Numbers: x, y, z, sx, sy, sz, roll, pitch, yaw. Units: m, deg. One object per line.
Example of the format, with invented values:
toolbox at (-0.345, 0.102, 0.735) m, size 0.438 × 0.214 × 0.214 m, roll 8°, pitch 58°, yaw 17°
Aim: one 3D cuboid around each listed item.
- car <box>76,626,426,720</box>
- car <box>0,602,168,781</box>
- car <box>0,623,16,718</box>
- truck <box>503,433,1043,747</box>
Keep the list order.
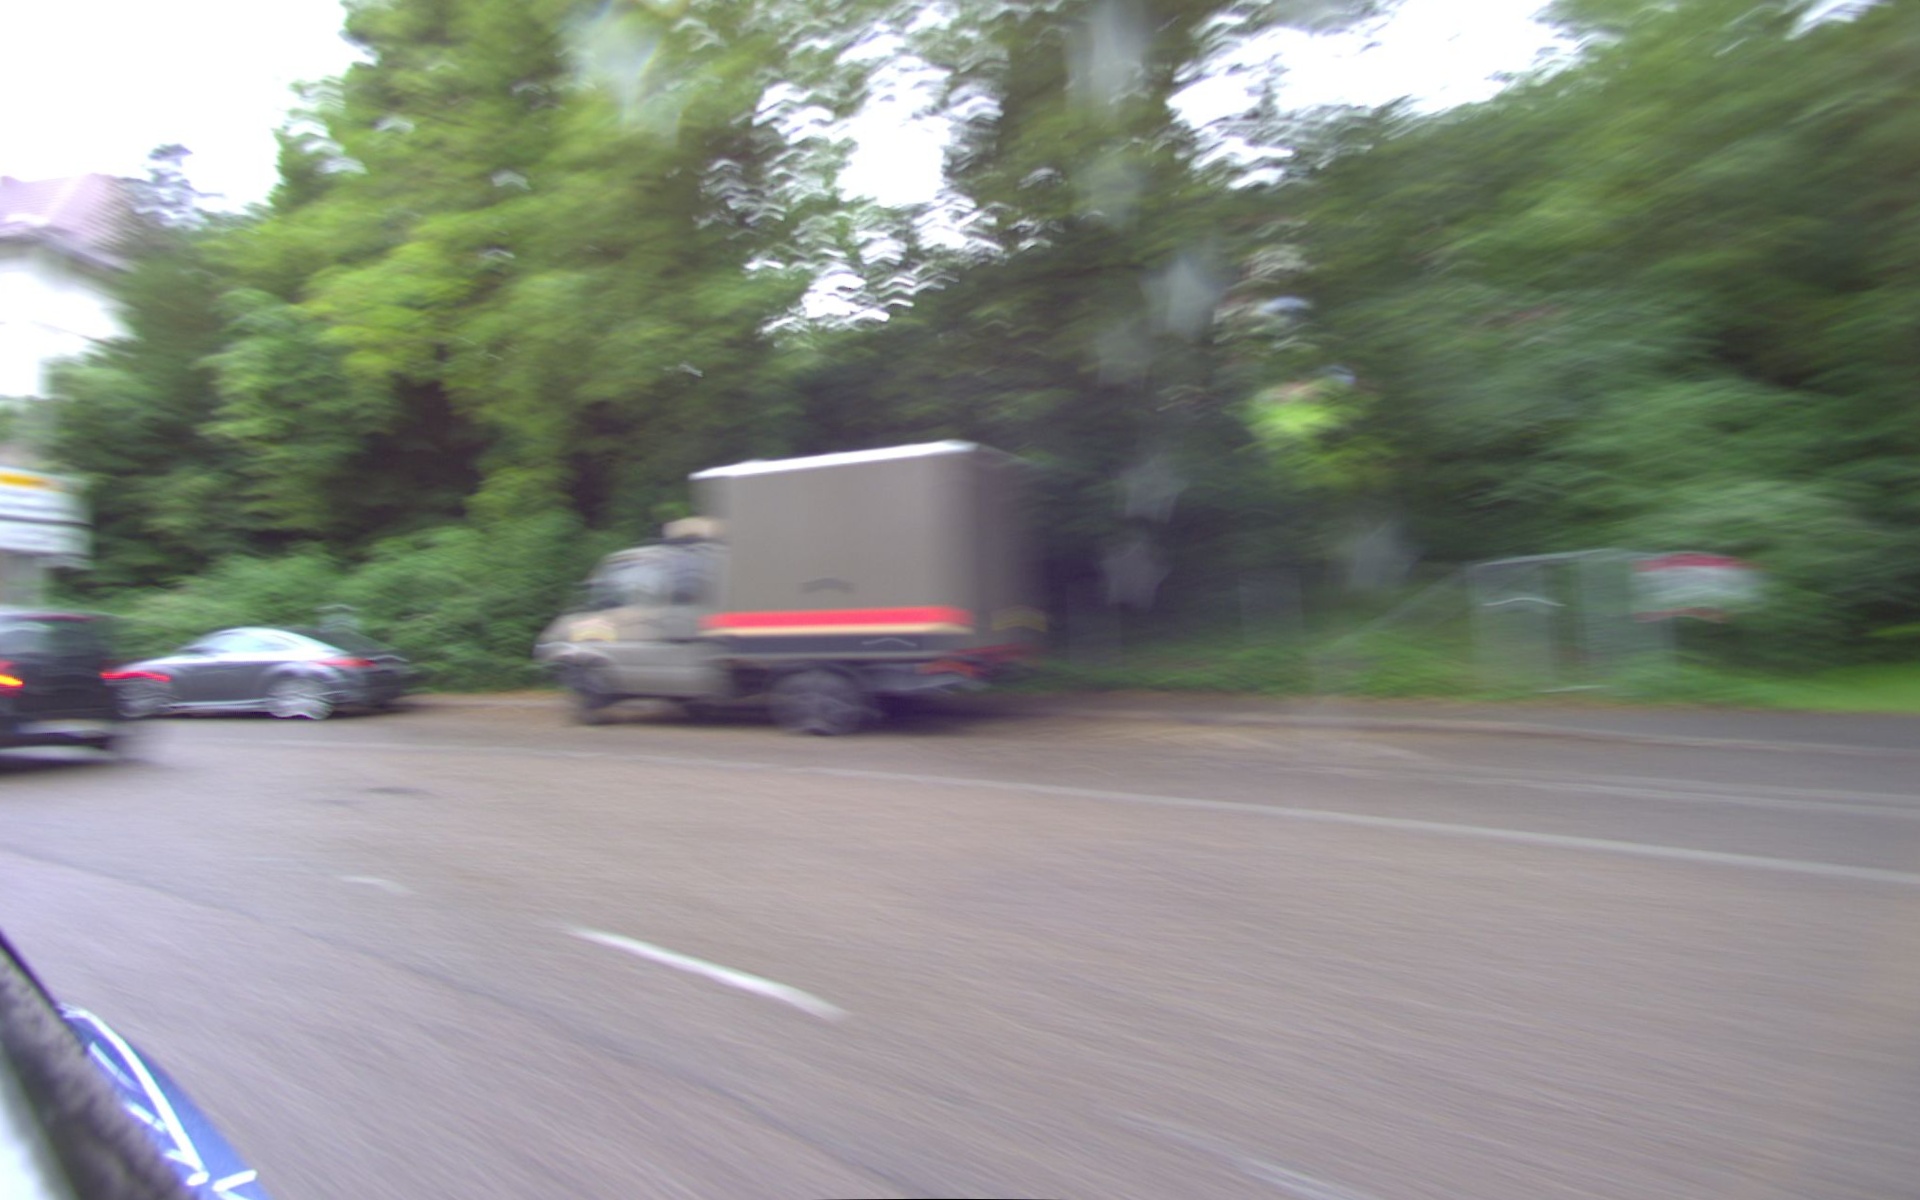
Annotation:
car at (-10.461, 1.078, 15.088) m, size 4.194 × 1.285 × 1.702 m, roll -1°, pitch -3°, yaw 6°
car at (-10.044, 0.839, 9.767) m, size 4.048 × 1.530 × 1.757 m, roll -1°, pitch -1°, yaw 16°
car at (-17.585, 1.121, 15.611) m, size 4.466 × 1.510 × 1.704 m, roll -1°, pitch -3°, yaw 1°
truck at (-2.429, -0.036, 12.395) m, size 6.575 × 3.126 × 2.022 m, roll -1°, pitch -1°, yaw 25°
